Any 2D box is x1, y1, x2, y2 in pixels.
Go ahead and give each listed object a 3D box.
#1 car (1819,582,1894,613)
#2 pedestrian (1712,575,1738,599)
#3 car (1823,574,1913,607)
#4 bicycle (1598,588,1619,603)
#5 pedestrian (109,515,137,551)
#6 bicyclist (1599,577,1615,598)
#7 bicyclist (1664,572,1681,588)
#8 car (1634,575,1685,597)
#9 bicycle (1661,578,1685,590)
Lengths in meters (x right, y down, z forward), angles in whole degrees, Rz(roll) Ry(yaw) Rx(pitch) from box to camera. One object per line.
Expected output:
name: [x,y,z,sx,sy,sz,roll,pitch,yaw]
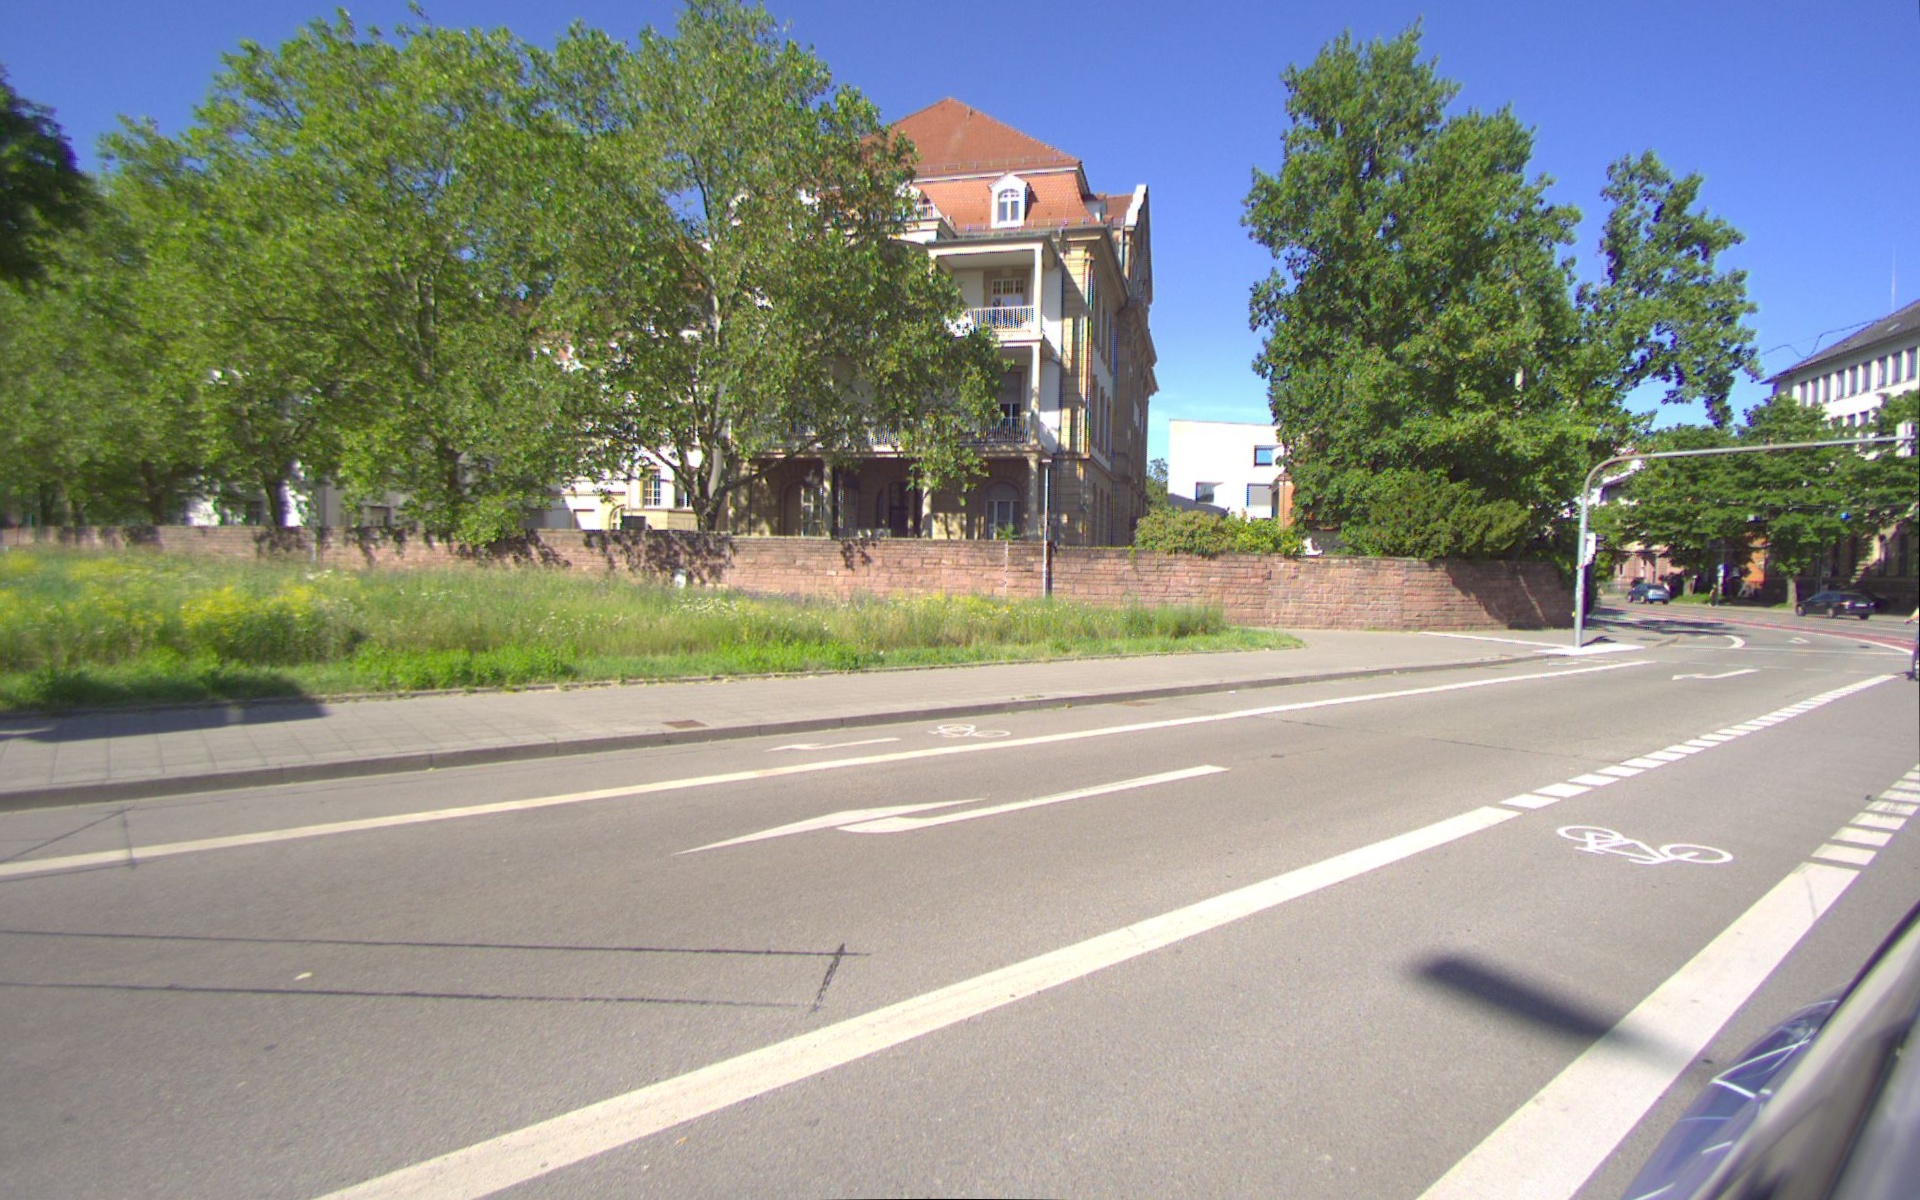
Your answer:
car: [50.393,-0.156,57.001,1.775,1.517,4.540,3,3,23]
pedestrian: [61.316,-1.024,81.126,1.366,1.844,0.937,1,1,4]
car: [61.200,-0.647,68.256,4.615,2.038,2.004,1,2,-9]
bicycle: [43.414,-0.322,67.788,1.723,1.018,0.711,0,1,-41]
pedestrian: [-34.873,-2.793,42.161,0.516,1.461,0.721,0,0,20]
bicyclist: [43.247,-0.834,67.624,0.763,1.333,0.711,0,1,-40]
bicyclist: [60.524,-1.709,85.952,0.720,1.402,0.895,1,2,3]
car: [55.881,-1.141,80.938,1.834,1.561,4.224,3,3,14]
bicycle: [60.525,-1.347,85.920,0.720,1.003,1.834,1,2,3]
